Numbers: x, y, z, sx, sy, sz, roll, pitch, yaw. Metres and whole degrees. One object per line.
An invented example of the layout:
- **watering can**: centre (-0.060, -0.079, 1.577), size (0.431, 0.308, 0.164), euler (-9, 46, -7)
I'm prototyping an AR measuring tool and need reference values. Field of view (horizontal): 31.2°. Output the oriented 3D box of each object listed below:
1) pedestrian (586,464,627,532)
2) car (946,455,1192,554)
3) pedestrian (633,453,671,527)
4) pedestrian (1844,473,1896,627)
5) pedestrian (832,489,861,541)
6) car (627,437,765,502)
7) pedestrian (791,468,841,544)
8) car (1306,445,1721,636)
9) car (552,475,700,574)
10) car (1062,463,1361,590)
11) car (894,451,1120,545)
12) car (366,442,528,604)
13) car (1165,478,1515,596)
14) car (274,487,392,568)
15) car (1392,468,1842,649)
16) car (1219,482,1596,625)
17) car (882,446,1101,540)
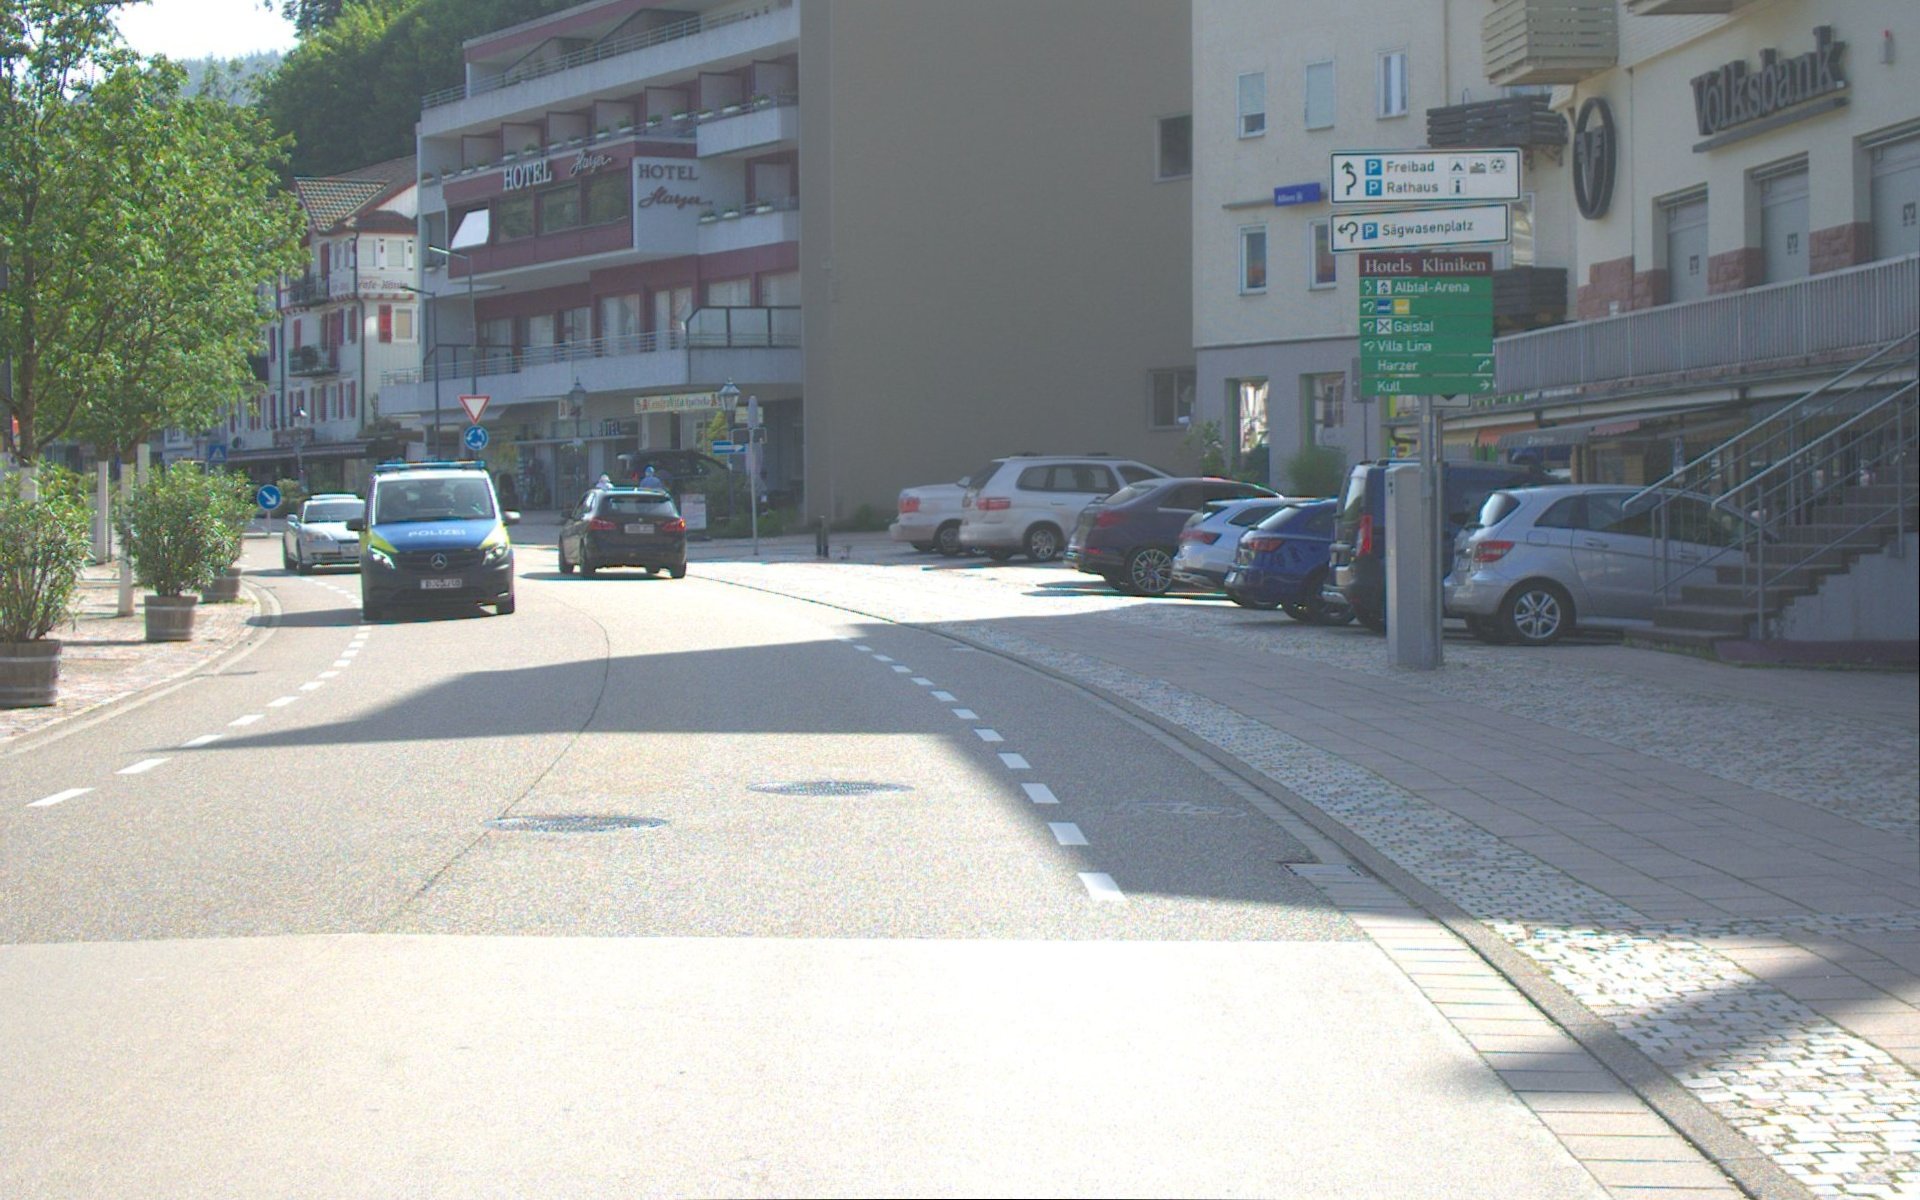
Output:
- **pedestrian**: centre (-8.266, -2.388, 80.378), size (0.757, 1.588, 0.628), euler (-1, 2, -26)
- **car**: centre (1.975, -1.748, 62.059), size (4.009, 1.511, 1.773), euler (-4, 4, -24)
- **pedestrian**: centre (-7.186, -2.562, 80.136), size (0.668, 1.722, 0.708), euler (-1, 2, -26)
- **pedestrian**: centre (9.907, -0.551, 37.429), size (0.411, 1.652, 0.435), euler (-2, 2, 3)
- **pedestrian**: centre (-2.225, -1.667, 67.375), size (0.417, 0.998, 0.531), euler (-3, 3, -16)
- **car**: centre (-6.766, -3.342, 88.145), size (3.163, 1.657, 1.595), euler (-1, 2, -24)
- **pedestrian**: centre (-2.819, -1.835, 67.208), size (0.735, 1.437, 0.633), euler (-3, 3, -23)
- **car**: centre (5.763, -0.623, 36.094), size (3.909, 1.798, 1.858), euler (2, 1, -4)
- **car**: centre (-5.845, -1.343, 59.867), size (1.727, 1.569, 3.754), euler (-1, 4, -19)
- **car**: centre (3.633, -1.083, 50.194), size (4.083, 1.660, 1.773), euler (2, 2, -4)
- **car**: centre (0.893, -1.960, 65.377), size (3.860, 1.544, 1.773), euler (-4, 4, -24)
- **car**: centre (-6.786, -1.027, 45.151), size (1.854, 1.946, 5.019), euler (-2, 2, -10)
- **car**: centre (4.971, -0.819, 45.364), size (4.356, 1.456, 1.773), euler (1, 0, -2)
- **car**: centre (-11.586, -1.351, 63.355), size (1.627, 1.366, 4.065), euler (-3, 2, -17)
- **car**: centre (6.327, -0.423, 33.378), size (3.909, 1.583, 1.775), euler (2, 2, -4)
- **car**: centre (4.999, -0.539, 38.727), size (3.909, 1.456, 1.736), euler (2, 2, -4)
- **car**: centre (0.624, -2.135, 67.728), size (3.860, 1.607, 1.773), euler (-4, 4, -24)
